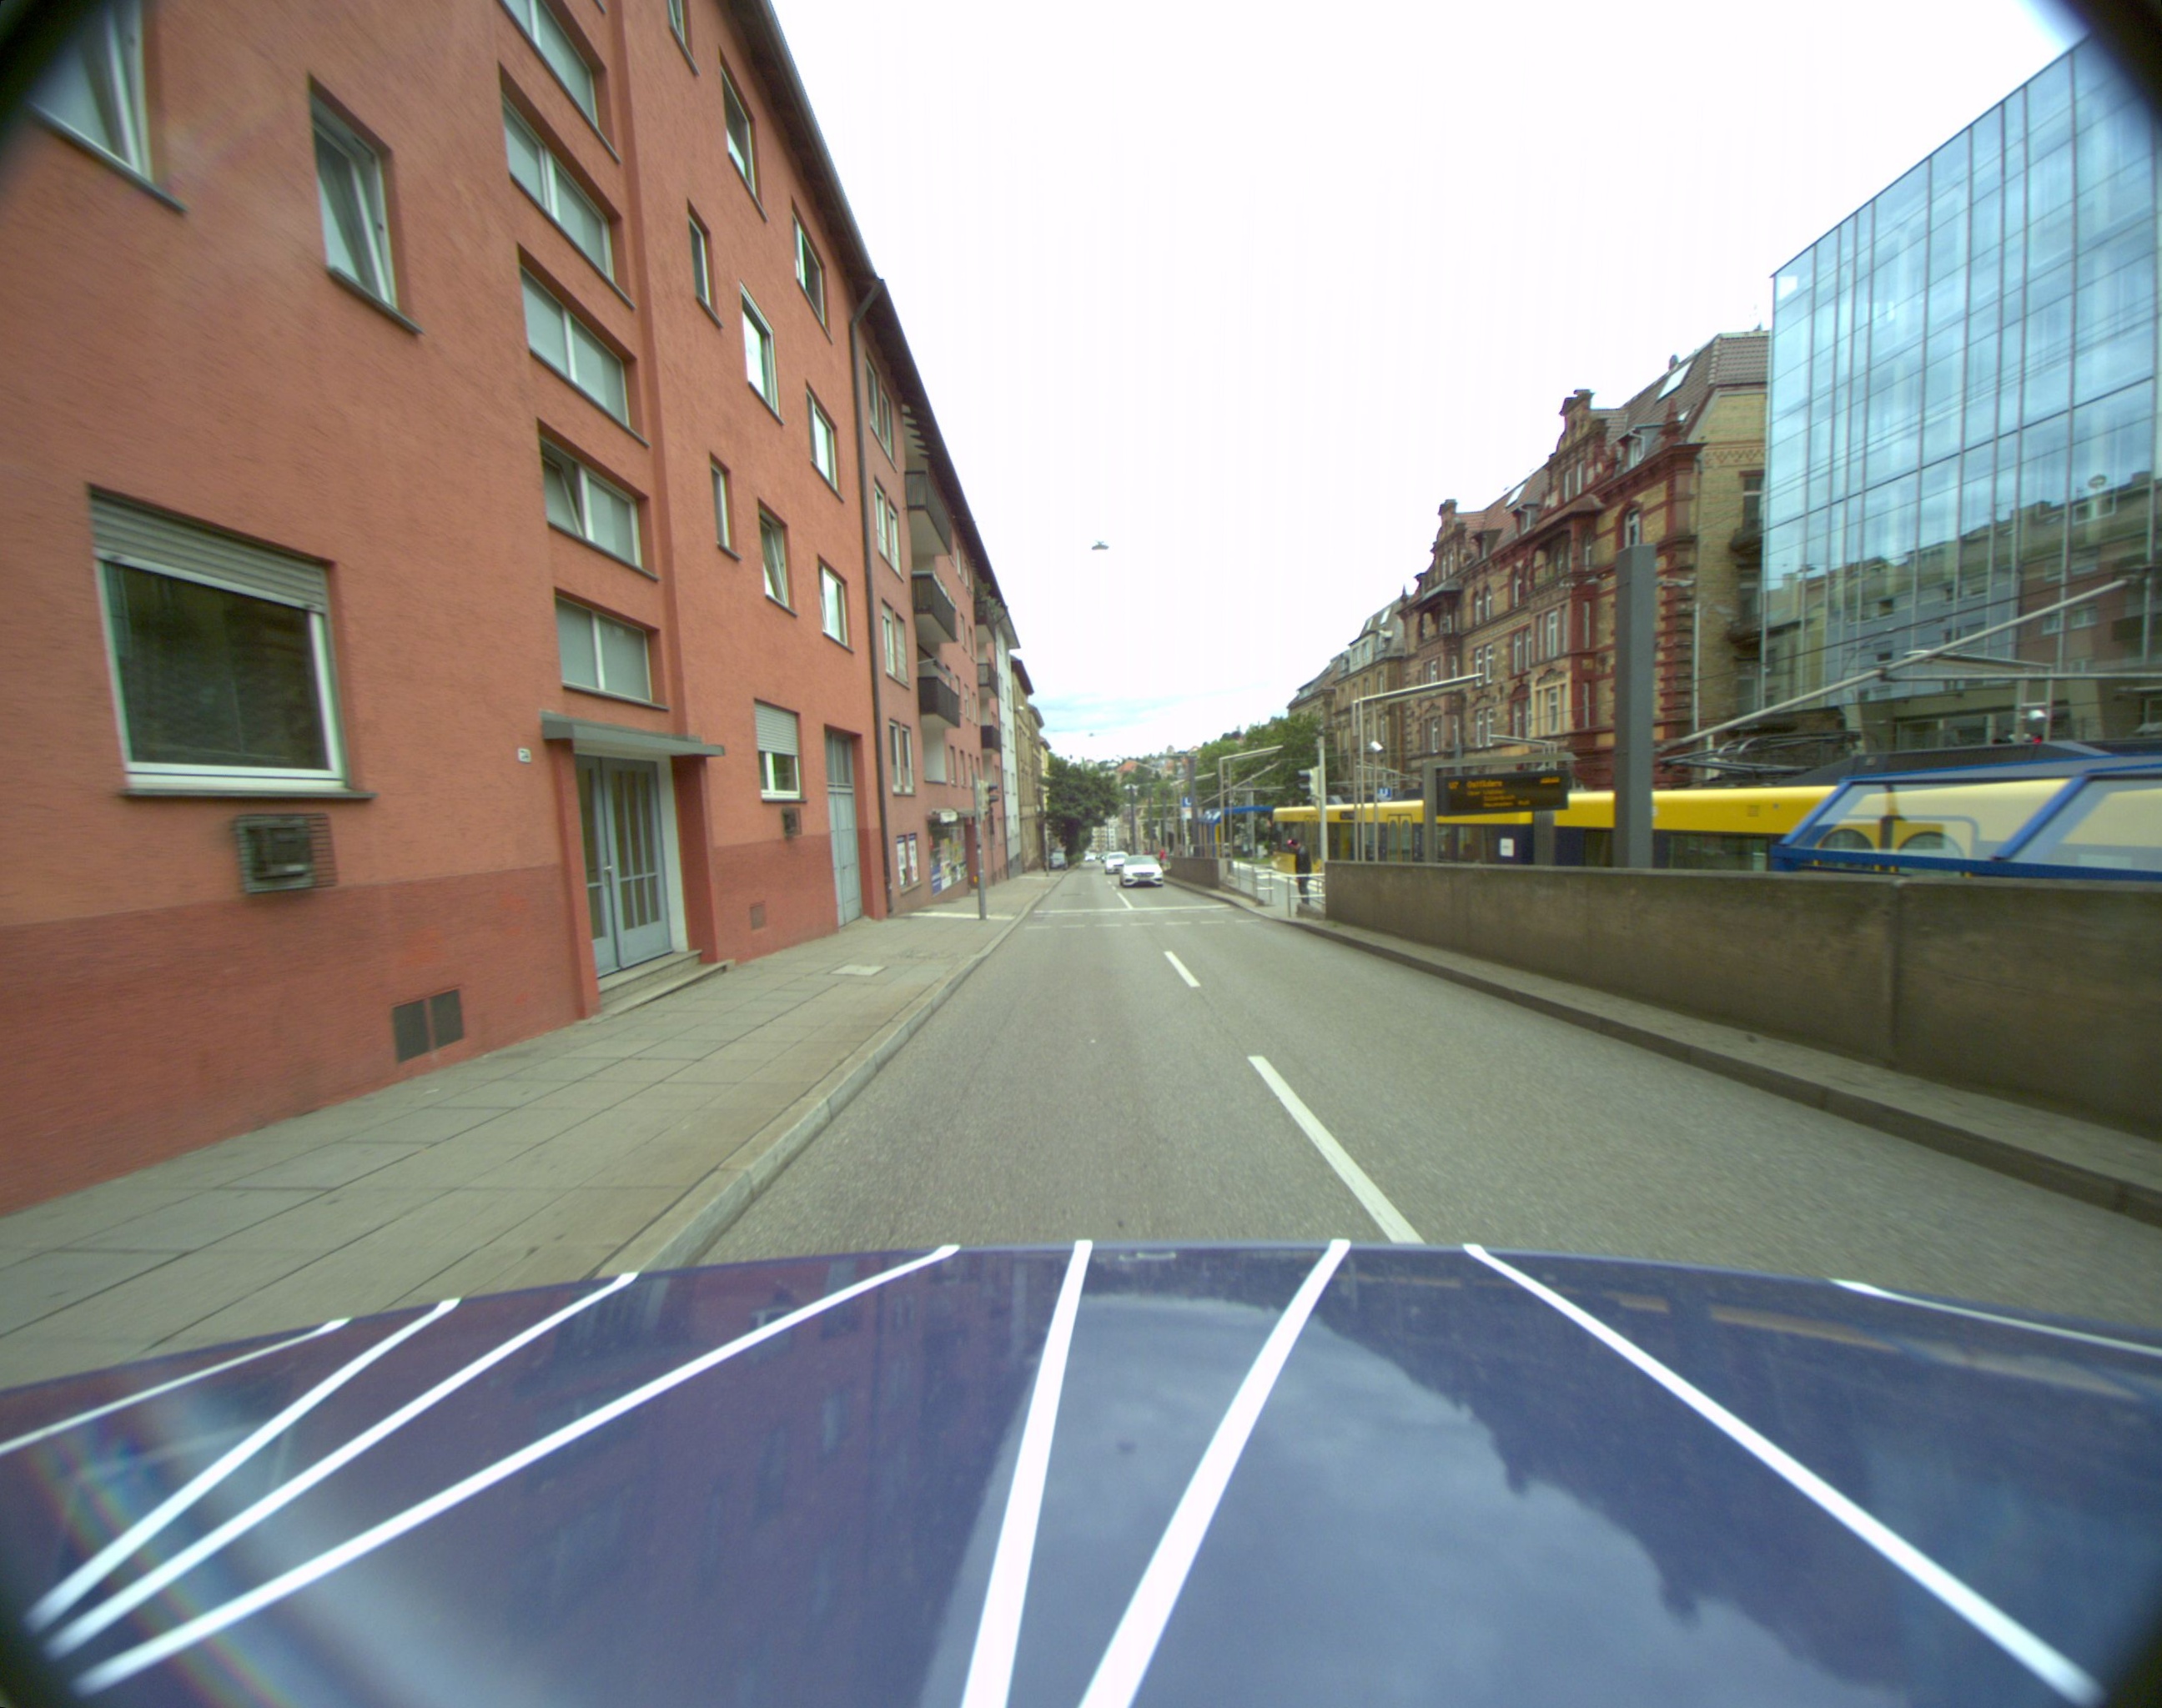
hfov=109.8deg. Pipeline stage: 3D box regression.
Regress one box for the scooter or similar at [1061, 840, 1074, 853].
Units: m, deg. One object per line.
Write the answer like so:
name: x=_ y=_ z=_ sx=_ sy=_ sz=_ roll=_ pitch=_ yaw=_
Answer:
scooter or similar: x=-1.317 y=-0.764 z=76.086 sx=1.199 sy=1.266 sz=0.629 roll=1 pitch=1 yaw=-8

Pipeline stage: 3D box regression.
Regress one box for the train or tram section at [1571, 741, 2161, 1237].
train or tram section: x=8.976 y=0.879 z=5.579 sx=2.957 sy=3.464 sz=12.213 roll=-2 pitch=2 yaw=1

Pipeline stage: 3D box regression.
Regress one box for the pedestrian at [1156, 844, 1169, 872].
pedestrian: x=5.100 y=0.241 z=47.664 sx=0.680 sy=1.670 sz=0.685 roll=-3 pitch=1 yaw=-2

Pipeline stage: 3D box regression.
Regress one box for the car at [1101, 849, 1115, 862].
car: x=3.828 y=0.231 z=106.895 sx=1.881 sy=1.727 sz=4.000 roll=-3 pitch=0 yaw=2

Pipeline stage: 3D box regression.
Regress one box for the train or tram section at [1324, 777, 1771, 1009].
train or tram section: x=9.057 y=0.229 z=17.704 sx=2.957 sy=3.453 sz=12.210 roll=-2 pitch=4 yaw=1

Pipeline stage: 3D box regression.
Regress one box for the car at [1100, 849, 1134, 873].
car: x=2.457 y=0.461 z=52.705 sx=1.999 sy=1.479 sz=4.229 roll=-5 pitch=0 yaw=0

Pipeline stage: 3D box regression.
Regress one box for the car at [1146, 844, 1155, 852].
car: x=20.870 y=-1.795 z=228.349 sx=1.999 sy=2.002 sz=3.998 roll=-3 pitch=0 yaw=-5

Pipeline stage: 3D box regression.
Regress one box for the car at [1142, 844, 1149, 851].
car: x=20.617 y=-2.038 z=241.920 sx=1.998 sy=2.002 sz=4.000 roll=-3 pitch=0 yaw=2

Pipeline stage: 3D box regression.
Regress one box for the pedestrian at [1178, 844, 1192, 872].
pedestrian: x=6.295 y=0.230 z=45.900 sx=0.623 sy=1.685 sz=0.660 roll=-3 pitch=1 yaw=-9

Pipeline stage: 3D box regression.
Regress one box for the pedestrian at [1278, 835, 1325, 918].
pedestrian: x=4.917 y=0.488 z=16.975 sx=0.817 sy=1.767 sz=0.803 roll=-3 pitch=1 yaw=8

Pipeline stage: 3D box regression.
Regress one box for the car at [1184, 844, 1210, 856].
car: x=19.262 y=-0.688 z=126.665 sx=3.862 sy=1.804 sz=1.781 roll=-3 pitch=2 yaw=-22

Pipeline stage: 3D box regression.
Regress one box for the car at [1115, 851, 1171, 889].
car: x=2.750 y=0.672 z=34.793 sx=1.999 sy=1.390 sz=4.228 roll=-5 pitch=2 yaw=-2

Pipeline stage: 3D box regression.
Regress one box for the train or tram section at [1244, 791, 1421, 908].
train or tram section: x=9.236 y=-0.431 z=30.002 sx=2.957 sy=3.524 sz=12.392 roll=-3 pitch=3 yaw=1

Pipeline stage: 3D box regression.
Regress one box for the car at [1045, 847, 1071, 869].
car: x=-1.935 y=0.303 z=64.133 sx=1.862 sy=1.701 sz=4.308 roll=-1 pitch=0 yaw=2
